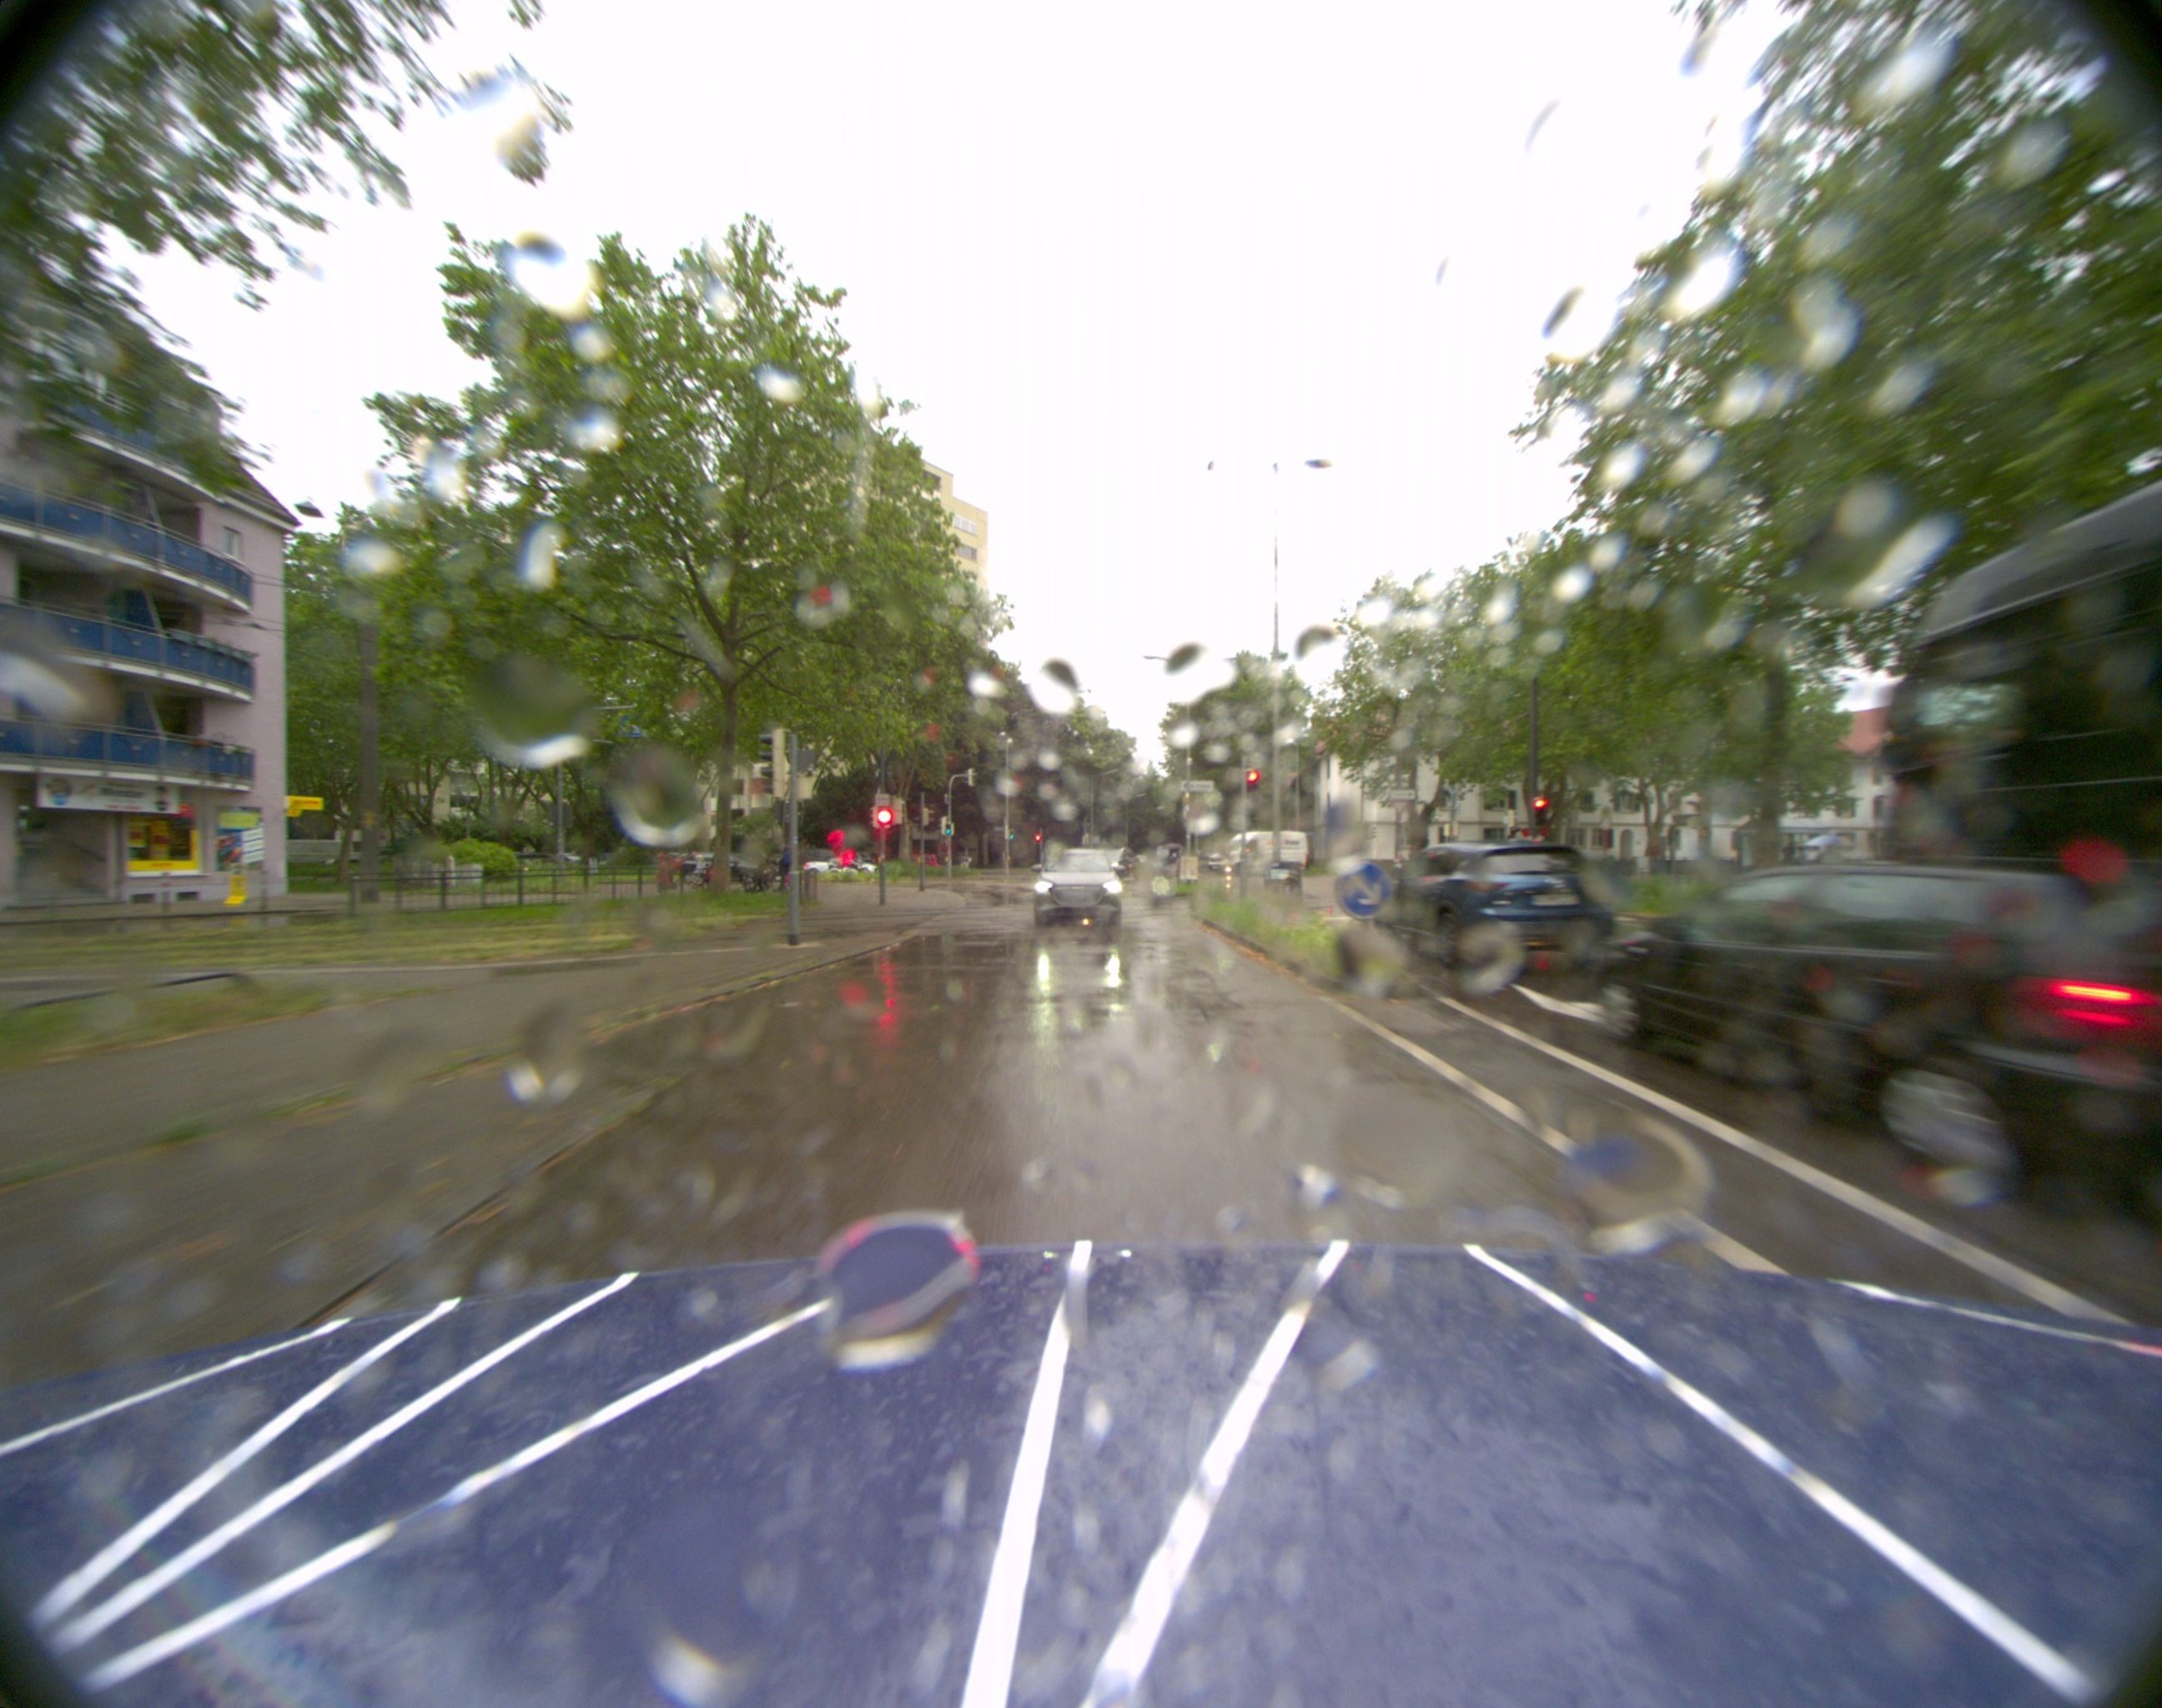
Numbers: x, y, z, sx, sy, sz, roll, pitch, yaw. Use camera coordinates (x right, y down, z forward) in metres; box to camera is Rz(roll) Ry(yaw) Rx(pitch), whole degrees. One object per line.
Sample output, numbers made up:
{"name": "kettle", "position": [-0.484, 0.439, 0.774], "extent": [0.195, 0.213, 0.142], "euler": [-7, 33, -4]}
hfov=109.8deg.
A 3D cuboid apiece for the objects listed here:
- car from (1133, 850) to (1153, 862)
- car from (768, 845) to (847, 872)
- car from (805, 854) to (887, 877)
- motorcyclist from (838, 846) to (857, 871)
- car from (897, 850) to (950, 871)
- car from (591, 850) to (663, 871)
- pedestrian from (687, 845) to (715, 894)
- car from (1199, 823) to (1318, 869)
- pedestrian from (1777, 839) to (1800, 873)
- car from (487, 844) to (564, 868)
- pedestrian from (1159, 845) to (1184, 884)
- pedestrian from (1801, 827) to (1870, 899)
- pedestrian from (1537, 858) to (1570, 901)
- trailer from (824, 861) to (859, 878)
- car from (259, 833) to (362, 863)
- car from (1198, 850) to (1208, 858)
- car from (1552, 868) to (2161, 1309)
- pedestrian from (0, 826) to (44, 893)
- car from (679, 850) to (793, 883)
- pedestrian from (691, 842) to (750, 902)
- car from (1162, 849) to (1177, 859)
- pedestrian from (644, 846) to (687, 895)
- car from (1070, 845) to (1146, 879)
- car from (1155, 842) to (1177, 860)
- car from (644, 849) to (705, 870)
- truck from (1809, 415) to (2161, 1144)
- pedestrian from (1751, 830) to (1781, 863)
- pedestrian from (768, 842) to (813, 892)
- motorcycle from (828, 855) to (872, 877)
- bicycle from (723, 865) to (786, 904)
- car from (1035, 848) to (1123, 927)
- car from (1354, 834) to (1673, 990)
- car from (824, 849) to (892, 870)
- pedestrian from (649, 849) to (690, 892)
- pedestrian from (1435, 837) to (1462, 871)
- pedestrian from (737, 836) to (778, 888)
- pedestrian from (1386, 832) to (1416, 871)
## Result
{"name": "car", "position": [7.333, 0.237, 89.873], "extent": [1.819, 1.451, 4.276], "euler": [0, 0, 13]}
{"name": "car", "position": [-17.803, 0.265, 49.620], "extent": [1.870, 1.654, 4.612], "euler": [0, 0, 34]}
{"name": "car", "position": [-13.569, 0.631, 44.033], "extent": [4.169, 1.268, 1.903], "euler": [-1, 0, 0]}
{"name": "motorcyclist", "position": [-12.675, 0.237, 41.314], "extent": [0.754, 1.343, 0.758], "euler": [0, 1, 4]}
{"name": "car", "position": [-11.702, 0.475, 56.518], "extent": [3.456, 1.516, 1.843], "euler": [0, 0, 7]}
{"name": "car", "position": [-31.120, 0.425, 52.180], "extent": [1.881, 1.414, 3.849], "euler": [1, 0, 22]}
{"name": "pedestrian", "position": [-12.264, 0.500, 24.553], "extent": [0.762, 1.539, 0.691], "euler": [1, 1, -23]}
{"name": "car", "position": [10.277, -0.468, 43.908], "extent": [6.518, 2.547, 2.280], "euler": [-1, 1, -21]}
{"name": "pedestrian", "position": [38.245, 0.122, 41.056], "extent": [0.858, 1.815, 0.851], "euler": [2, 1, 44]}
{"name": "car", "position": [-39.545, 0.146, 54.157], "extent": [1.994, 1.645, 4.008], "euler": [0, 1, 34]}
{"name": "pedestrian", "position": [3.659, 0.424, 30.884], "extent": [0.863, 1.572, 0.642], "euler": [1, 1, -6]}
{"name": "pedestrian", "position": [20.955, 0.229, 21.140], "extent": [0.910, 1.953, 1.216], "euler": [1, 1, 21]}
{"name": "pedestrian", "position": [20.721, 1.116, 33.315], "extent": [0.850, 1.821, 0.859], "euler": [1, 1, -18]}
{"name": "trailer", "position": [-12.697, 0.819, 40.335], "extent": [1.481, 0.837, 1.027], "euler": [0, 0, 6]}
{"name": "car", "position": [-64.228, -0.519, 63.481], "extent": [5.615, 2.387, 2.228], "euler": [0, 1, -31]}
{"name": "car", "position": [26.017, -0.049, 161.622], "extent": [1.997, 1.795, 4.352], "euler": [0, 0, 7]}
{"name": "car", "position": [4.617, 0.799, 4.367], "extent": [1.701, 1.365, 4.102], "euler": [0, 0, 7]}
{"name": "pedestrian", "position": [-25.622, 0.123, 18.295], "extent": [0.594, 1.593, 0.472], "euler": [0, 1, -10]}
{"name": "car", "position": [-15.406, 0.534, 34.055], "extent": [4.174, 1.452, 1.995], "euler": [0, 0, 2]}
{"name": "pedestrian", "position": [-10.831, 0.524, 22.881], "extent": [1.236, 1.778, 1.038], "euler": [0, 1, 2]}
{"name": "car", "position": [13.412, -0.033, 114.796], "extent": [1.997, 1.530, 4.003], "euler": [0, 0, 11]}
{"name": "pedestrian", "position": [-13.138, 0.515, 24.042], "extent": [1.066, 1.517, 0.877], "euler": [0, 1, -21]}
{"name": "car", "position": [1.294, 0.326, 34.794], "extent": [1.849, 1.435, 4.008], "euler": [1, 0, 29]}
{"name": "car", "position": [11.861, -0.444, 105.302], "extent": [2.398, 2.461, 5.697], "euler": [1, 0, 12]}
{"name": "car", "position": [-32.337, 0.426, 60.522], "extent": [3.992, 1.624, 1.934], "euler": [0, 0, 14]}
{"name": "truck", "position": [7.545, -0.417, 3.014], "extent": [3.456, 4.055, 6.979], "euler": [0, 0, 11]}
{"name": "pedestrian", "position": [37.132, -0.407, 41.194], "extent": [0.859, 1.776, 0.849], "euler": [1, 1, 8]}
{"name": "pedestrian", "position": [-10.023, 0.447, 26.253], "extent": [1.053, 1.677, 0.998], "euler": [1, 1, 23]}
{"name": "motorcycle", "position": [-12.545, 0.648, 41.306], "extent": [2.072, 1.208, 0.881], "euler": [0, 1, 4]}
{"name": "bicycle", "position": [-9.424, 0.867, 21.950], "extent": [1.619, 1.070, 0.445], "euler": [0, 1, -14]}
{"name": "car", "position": [-0.105, 0.695, 18.127], "extent": [1.809, 1.611, 4.136], "euler": [-2, 0, -2]}
{"name": "car", "position": [5.706, 0.699, 10.967], "extent": [2.078, 1.672, 4.932], "euler": [-2, -1, 5]}
{"name": "car", "position": [-16.720, 0.407, 57.126], "extent": [4.448, 1.598, 1.942], "euler": [0, 0, 9]}
{"name": "pedestrian", "position": [-13.390, 0.543, 24.723], "extent": [1.011, 1.373, 0.673], "euler": [1, 1, -10]}
{"name": "pedestrian", "position": [18.307, 0.006, 37.854], "extent": [0.861, 1.678, 0.847], "euler": [1, 1, -17]}
{"name": "pedestrian", "position": [-11.304, 0.272, 26.572], "extent": [0.993, 1.771, 0.813], "euler": [1, 1, 12]}
{"name": "pedestrian", "position": [14.054, -0.124, 33.364], "extent": [0.850, 1.678, 0.859], "euler": [1, 1, -18]}
